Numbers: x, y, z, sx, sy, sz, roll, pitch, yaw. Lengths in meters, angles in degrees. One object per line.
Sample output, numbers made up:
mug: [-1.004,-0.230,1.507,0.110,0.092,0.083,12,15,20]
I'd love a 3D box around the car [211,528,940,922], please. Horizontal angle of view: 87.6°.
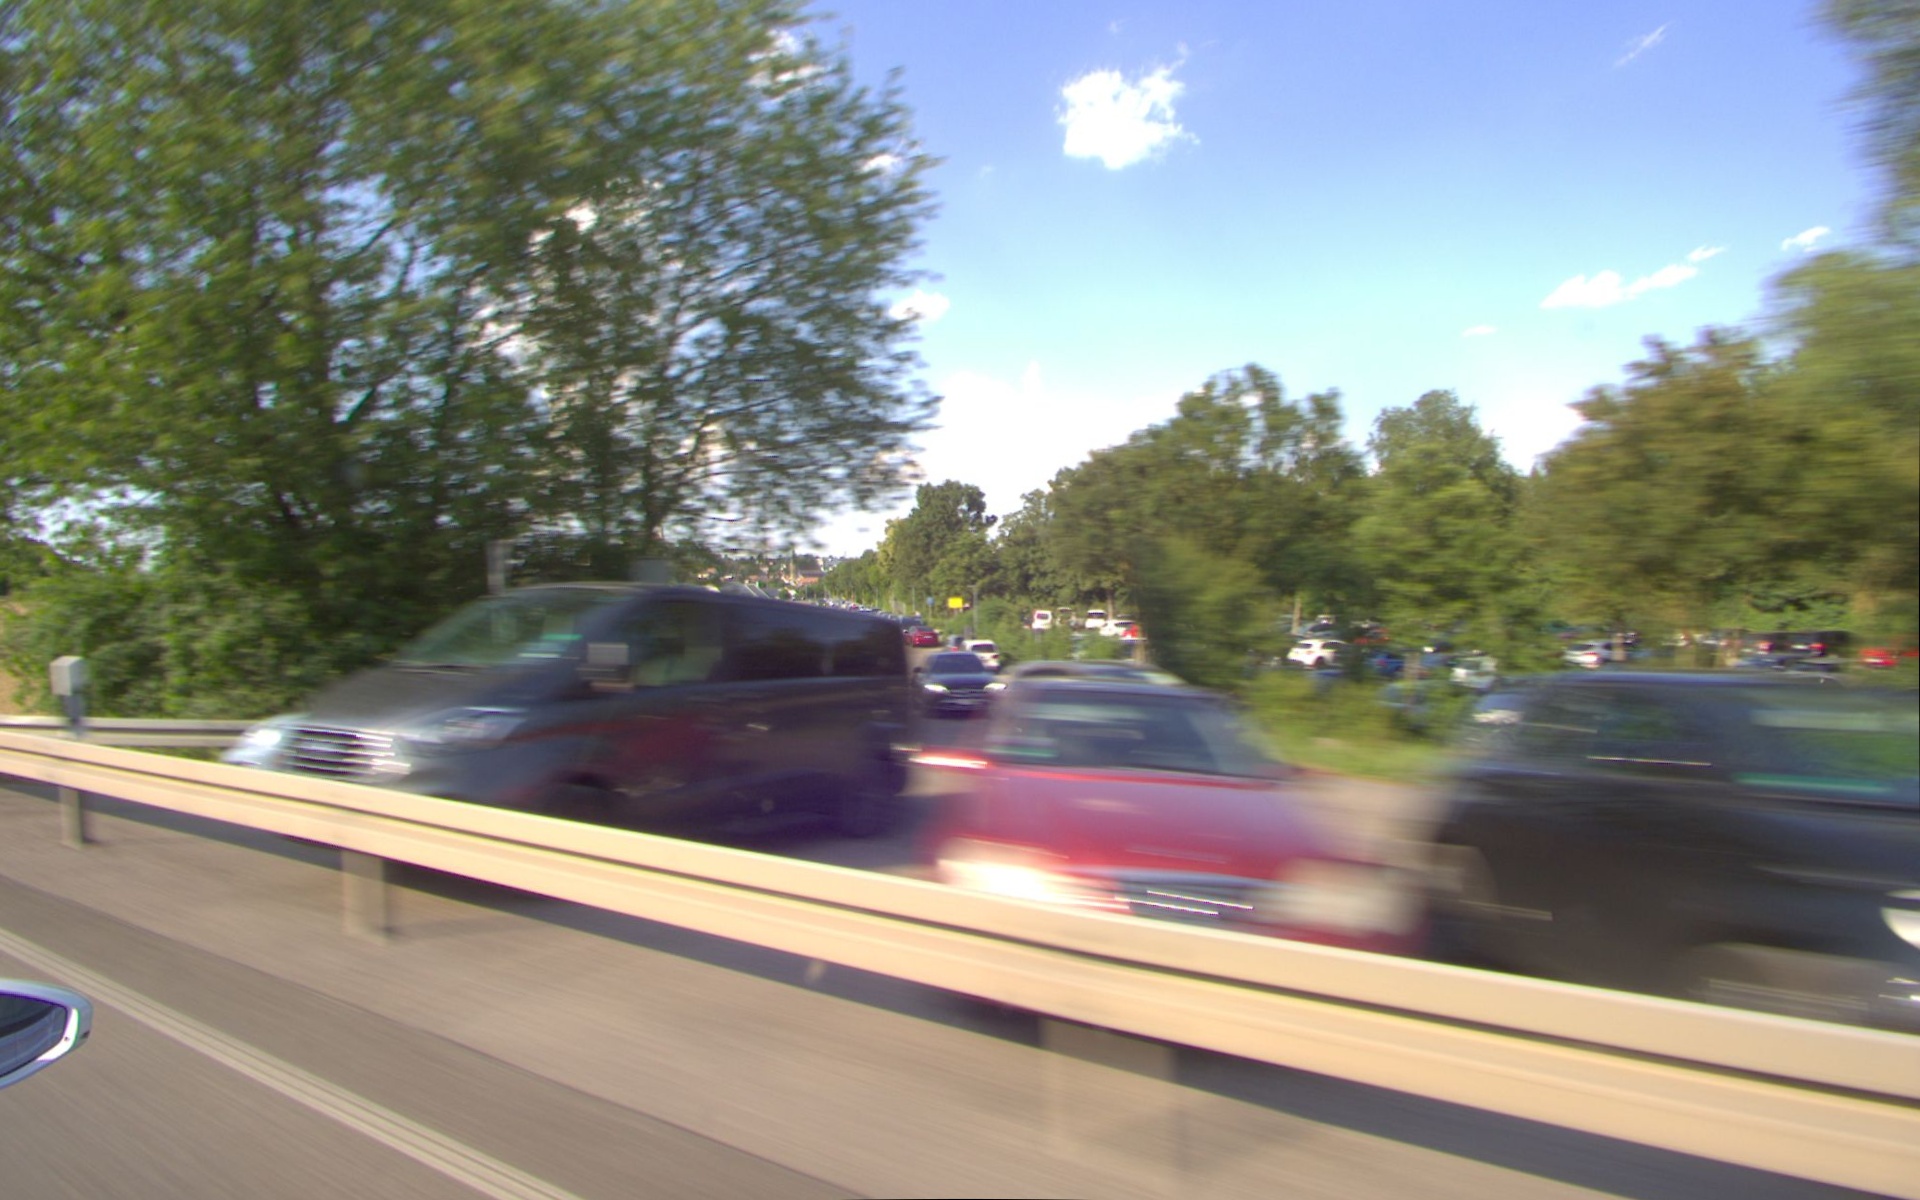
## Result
car: [-2.298,0.896,7.738,1.945,1.966,5.144,0,-6,29]

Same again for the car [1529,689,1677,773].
car: [16.819,3.329,26.123,4.541,1.713,1.790,1,-1,-37]

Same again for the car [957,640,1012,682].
car: [1.119,2.862,47.545,1.962,1.638,4.640,0,1,-7]

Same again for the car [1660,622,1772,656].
car: [39.824,2.049,52.816,4.507,1.713,1.804,0,-1,1]

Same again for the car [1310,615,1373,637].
car: [30.099,2.033,79.062,4.516,1.713,1.800,0,-1,-17]

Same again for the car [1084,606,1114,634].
car: [12.598,1.779,90.322,2.289,2.272,5.665,-2,0,11]

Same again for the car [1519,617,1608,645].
car: [37.797,1.918,62.775,4.507,1.713,1.804,0,-1,1]

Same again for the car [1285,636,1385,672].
car: [18.664,2.660,49.899,4.515,1.713,1.800,0,-1,-17]

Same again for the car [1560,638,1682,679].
car: [29.499,2.571,44.724,4.510,1.713,1.803,0,-1,-9]

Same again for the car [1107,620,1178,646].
car: [12.746,2.291,69.993,4.515,1.713,1.800,0,-1,-17]

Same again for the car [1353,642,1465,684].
car: [20.136,2.799,44.948,4.515,1.713,1.800,0,-1,-17]

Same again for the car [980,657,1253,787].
car: [1.970,1.571,14.171,1.781,1.459,4.580,2,-3,-21]

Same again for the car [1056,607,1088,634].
car: [10.191,1.801,90.544,2.316,2.272,5.665,-2,0,11]

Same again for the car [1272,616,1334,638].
car: [27.503,2.172,80.295,4.515,1.713,1.800,0,-1,-17]

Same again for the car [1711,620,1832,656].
car: [40.303,1.877,49.782,4.507,1.713,1.804,0,-1,1]

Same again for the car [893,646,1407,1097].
car: [0.732,1.078,5.538,1.687,1.416,4.331,2,-5,3]

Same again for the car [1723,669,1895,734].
car: [25.564,3.005,30.165,4.515,1.713,1.800,0,-1,-17]

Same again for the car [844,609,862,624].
car: [-11.621,1.780,108.637,1.962,1.527,4.642,0,0,-7]

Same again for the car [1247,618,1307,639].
car: [26.025,2.320,82.242,4.515,1.713,1.800,0,-1,-17]

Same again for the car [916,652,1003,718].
car: [-0.096,2.027,24.619,1.776,1.459,3.935,1,-3,-5]

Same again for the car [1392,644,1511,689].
car: [20.649,2.760,42.105,4.515,1.713,1.800,0,-1,-17]

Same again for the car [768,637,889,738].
car: [-2.667,1.745,21.209,1.776,1.771,4.217,0,0,3]

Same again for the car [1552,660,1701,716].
car: [22.871,2.976,34.387,4.515,1.713,1.800,0,-1,-17]

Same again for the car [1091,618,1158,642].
car: [12.003,2.196,73.033,4.515,1.713,1.800,0,-1,-17]

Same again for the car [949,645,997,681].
car: [0.623,3.283,52.844,1.962,1.527,4.640,0,1,-7]

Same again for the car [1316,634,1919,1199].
car: [3.190,1.034,4.373,1.687,1.527,4.331,2,-5,0]

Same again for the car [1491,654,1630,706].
car: [22.075,2.902,36.833,4.515,1.713,1.800,0,-1,-17]

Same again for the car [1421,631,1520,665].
car: [27.158,2.550,53.292,4.510,1.713,1.803,0,-1,-9]

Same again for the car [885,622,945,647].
car: [-3.252,2.433,71.037,1.974,1.527,4.844,-2,2,-35]

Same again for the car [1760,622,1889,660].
car: [40.773,1.921,47.303,4.507,1.713,1.804,0,-1,1]

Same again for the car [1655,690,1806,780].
car: [18.868,3.200,24.450,4.541,1.713,1.790,1,-1,-37]

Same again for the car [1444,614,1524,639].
car: [35.643,1.809,68.161,4.507,1.713,1.804,0,-1,1]

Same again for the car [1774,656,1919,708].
car: [32.372,2.949,36.382,4.510,1.713,1.803,0,-1,-9]

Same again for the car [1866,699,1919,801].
car: [20.667,3.033,19.302,1.783,1.866,4.558,0,-1,-40]

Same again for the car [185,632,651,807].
car: [-5.491,1.304,10.658,3.950,1.572,1.674,5,-6,-25]

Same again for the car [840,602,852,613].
car: [-19.828,1.309,173.694,1.962,1.810,4.876,0,0,-7]

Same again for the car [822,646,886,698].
car: [-3.465,2.332,33.241,1.961,1.526,4.645,0,-2,-5]

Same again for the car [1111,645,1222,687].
car: [9.066,2.872,44.032,4.515,1.713,1.800,0,-1,-17]

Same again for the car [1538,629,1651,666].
car: [30.413,2.243,48.054,4.510,1.713,1.803,0,-1,-9]

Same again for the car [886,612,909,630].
car: [-6.030,1.956,95.879,1.962,1.527,4.640,0,1,-7]

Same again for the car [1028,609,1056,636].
car: [7.588,2.013,92.083,2.454,2.339,6.077,-2,0,6]

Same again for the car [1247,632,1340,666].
car: [17.703,2.584,53.165,4.515,1.713,1.800,0,-1,-17]

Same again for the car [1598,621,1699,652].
car: [39.118,2.044,56.952,4.507,1.713,1.804,0,-1,1]

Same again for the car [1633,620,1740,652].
car: [39.743,1.968,54.814,4.507,1.713,1.804,0,-1,1]

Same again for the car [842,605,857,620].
car: [-14.571,1.622,131.655,1.962,1.810,4.642,0,0,-7]

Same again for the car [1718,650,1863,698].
car: [32.120,2.823,38.761,4.510,1.713,1.803,0,-1,-9]

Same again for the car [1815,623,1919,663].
car: [40.903,1.876,44.350,4.507,1.713,1.804,0,-1,1]

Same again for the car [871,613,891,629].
car: [-8.367,2.206,105.739,1.962,1.527,4.642,0,0,-7]

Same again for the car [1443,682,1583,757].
car: [15.690,3.307,28.342,4.541,1.713,1.790,1,-1,-37]

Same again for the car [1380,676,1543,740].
car: [15.501,3.294,30.970,4.515,1.713,1.800,0,-1,-17]
